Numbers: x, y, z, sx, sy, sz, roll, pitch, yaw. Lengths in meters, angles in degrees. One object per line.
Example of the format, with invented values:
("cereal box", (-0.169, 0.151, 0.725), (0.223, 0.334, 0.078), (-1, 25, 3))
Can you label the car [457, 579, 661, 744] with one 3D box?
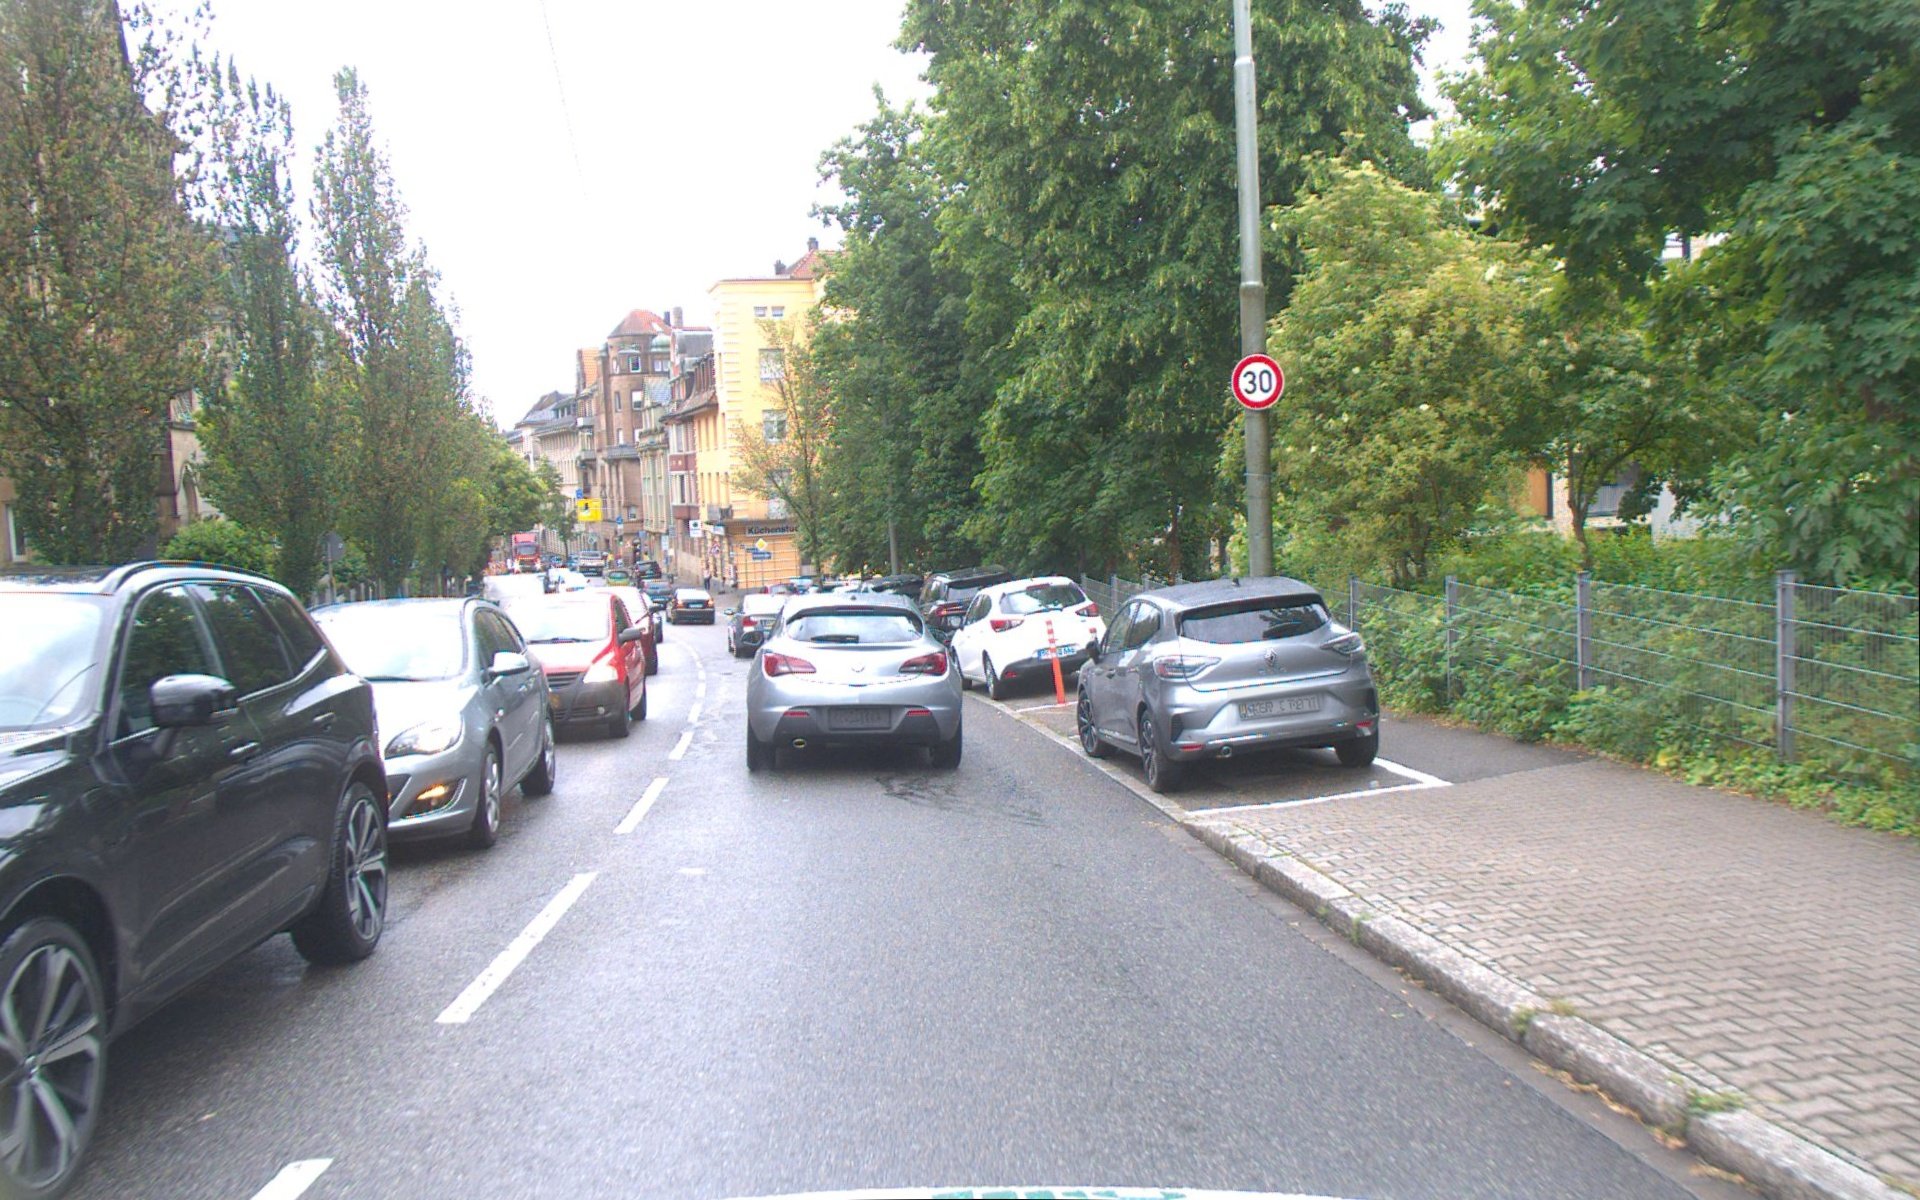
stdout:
("car", (-4.384, 0.593, 18.628), (1.623, 1.595, 3.996), (-2, 1, -5))

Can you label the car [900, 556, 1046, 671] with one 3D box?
("car", (0.125, 0.177, 29.139), (1.787, 1.712, 4.795), (-5, 1, -8))

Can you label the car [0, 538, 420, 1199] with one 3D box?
("car", (-3.261, 0.672, 5.319), (1.838, 1.602, 4.581), (-2, 1, -5))

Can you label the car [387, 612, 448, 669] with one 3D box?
("car", (-19.108, 1.394, 58.398), (1.760, 1.679, 4.177), (-6, 2, -16))

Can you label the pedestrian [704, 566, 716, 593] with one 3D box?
("pedestrian", (-14.633, -1.202, 96.891), (0.602, 1.522, 0.551), (-2, 3, -13))

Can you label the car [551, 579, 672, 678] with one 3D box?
("car", (-6.612, 0.483, 31.800), (1.811, 1.611, 4.272), (-5, 1, -7))

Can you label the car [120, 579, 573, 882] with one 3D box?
("car", (-3.750, 0.671, 10.927), (1.740, 1.523, 4.257), (-2, 1, -6))

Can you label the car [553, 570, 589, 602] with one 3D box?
("car", (-21.986, -0.807, 93.674), (1.791, 1.679, 3.988), (-4, 2, -12))

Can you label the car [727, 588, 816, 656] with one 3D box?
("car", (-4.388, 0.478, 38.156), (1.744, 1.455, 3.775), (-1, 0, -11))

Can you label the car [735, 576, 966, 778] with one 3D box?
("car", (-1.080, 0.576, 15.050), (1.780, 1.454, 3.995), (-2, 2, -7))

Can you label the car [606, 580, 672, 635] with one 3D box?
("car", (-9.588, 0.198, 49.688), (1.706, 1.499, 4.273), (-3, 1, -9))

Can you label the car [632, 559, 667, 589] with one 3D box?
("car", (-21.198, -1.735, 112.795), (1.962, 1.717, 3.985), (-8, 2, -14))

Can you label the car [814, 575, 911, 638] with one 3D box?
("car", (-2.703, 0.182, 44.997), (1.942, 1.477, 4.101), (-5, 1, -12))

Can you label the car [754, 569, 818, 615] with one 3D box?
("car", (-6.732, -0.281, 63.595), (1.785, 1.492, 3.986), (-7, 1, -13))

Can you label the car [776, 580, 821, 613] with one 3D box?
("car", (-7.853, -0.193, 80.764), (1.739, 1.454, 3.787), (-1, 2, 1))

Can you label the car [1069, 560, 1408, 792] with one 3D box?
("car", (2.055, 0.505, 13.299), (1.618, 1.428, 3.808), (-6, 1, -6))

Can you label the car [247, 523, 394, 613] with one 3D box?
("car", (-12.665, -0.603, 32.999), (1.780, 1.640, 3.994), (-1, 0, -7))

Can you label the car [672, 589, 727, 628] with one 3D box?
("car", (-10.405, 0.306, 65.926), (1.739, 1.439, 3.701), (-1, 1, -15))

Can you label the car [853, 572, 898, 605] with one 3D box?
("car", (-4.238, -0.592, 83.383), (1.739, 1.454, 3.789), (-1, 3, 4))

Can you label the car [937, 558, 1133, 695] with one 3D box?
("car", (0.951, 0.353, 23.330), (1.784, 1.520, 3.990), (-8, 1, -10))

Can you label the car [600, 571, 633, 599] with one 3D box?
("car", (-20.892, -0.909, 100.522), (1.614, 1.563, 3.700), (-3, 1, -16))

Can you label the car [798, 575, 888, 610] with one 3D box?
("car", (-5.238, -0.326, 73.978), (3.712, 1.455, 1.774), (2, -1, -17))

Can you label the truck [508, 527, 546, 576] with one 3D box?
("truck", (-40.697, -4.643, 155.264), (2.746, 4.203, 10.802), (-3, 4, -17))

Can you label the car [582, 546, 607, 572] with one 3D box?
("car", (-29.677, -3.311, 134.334), (1.752, 1.887, 3.984), (-2, 0, -15))

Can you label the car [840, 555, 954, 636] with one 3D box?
("car", (-1.566, -0.102, 39.132), (1.941, 1.637, 4.473), (-5, 1, -11))

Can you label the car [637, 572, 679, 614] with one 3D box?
("car", (-14.756, -0.361, 80.635), (1.613, 1.717, 3.703), (-3, 5, -16))
